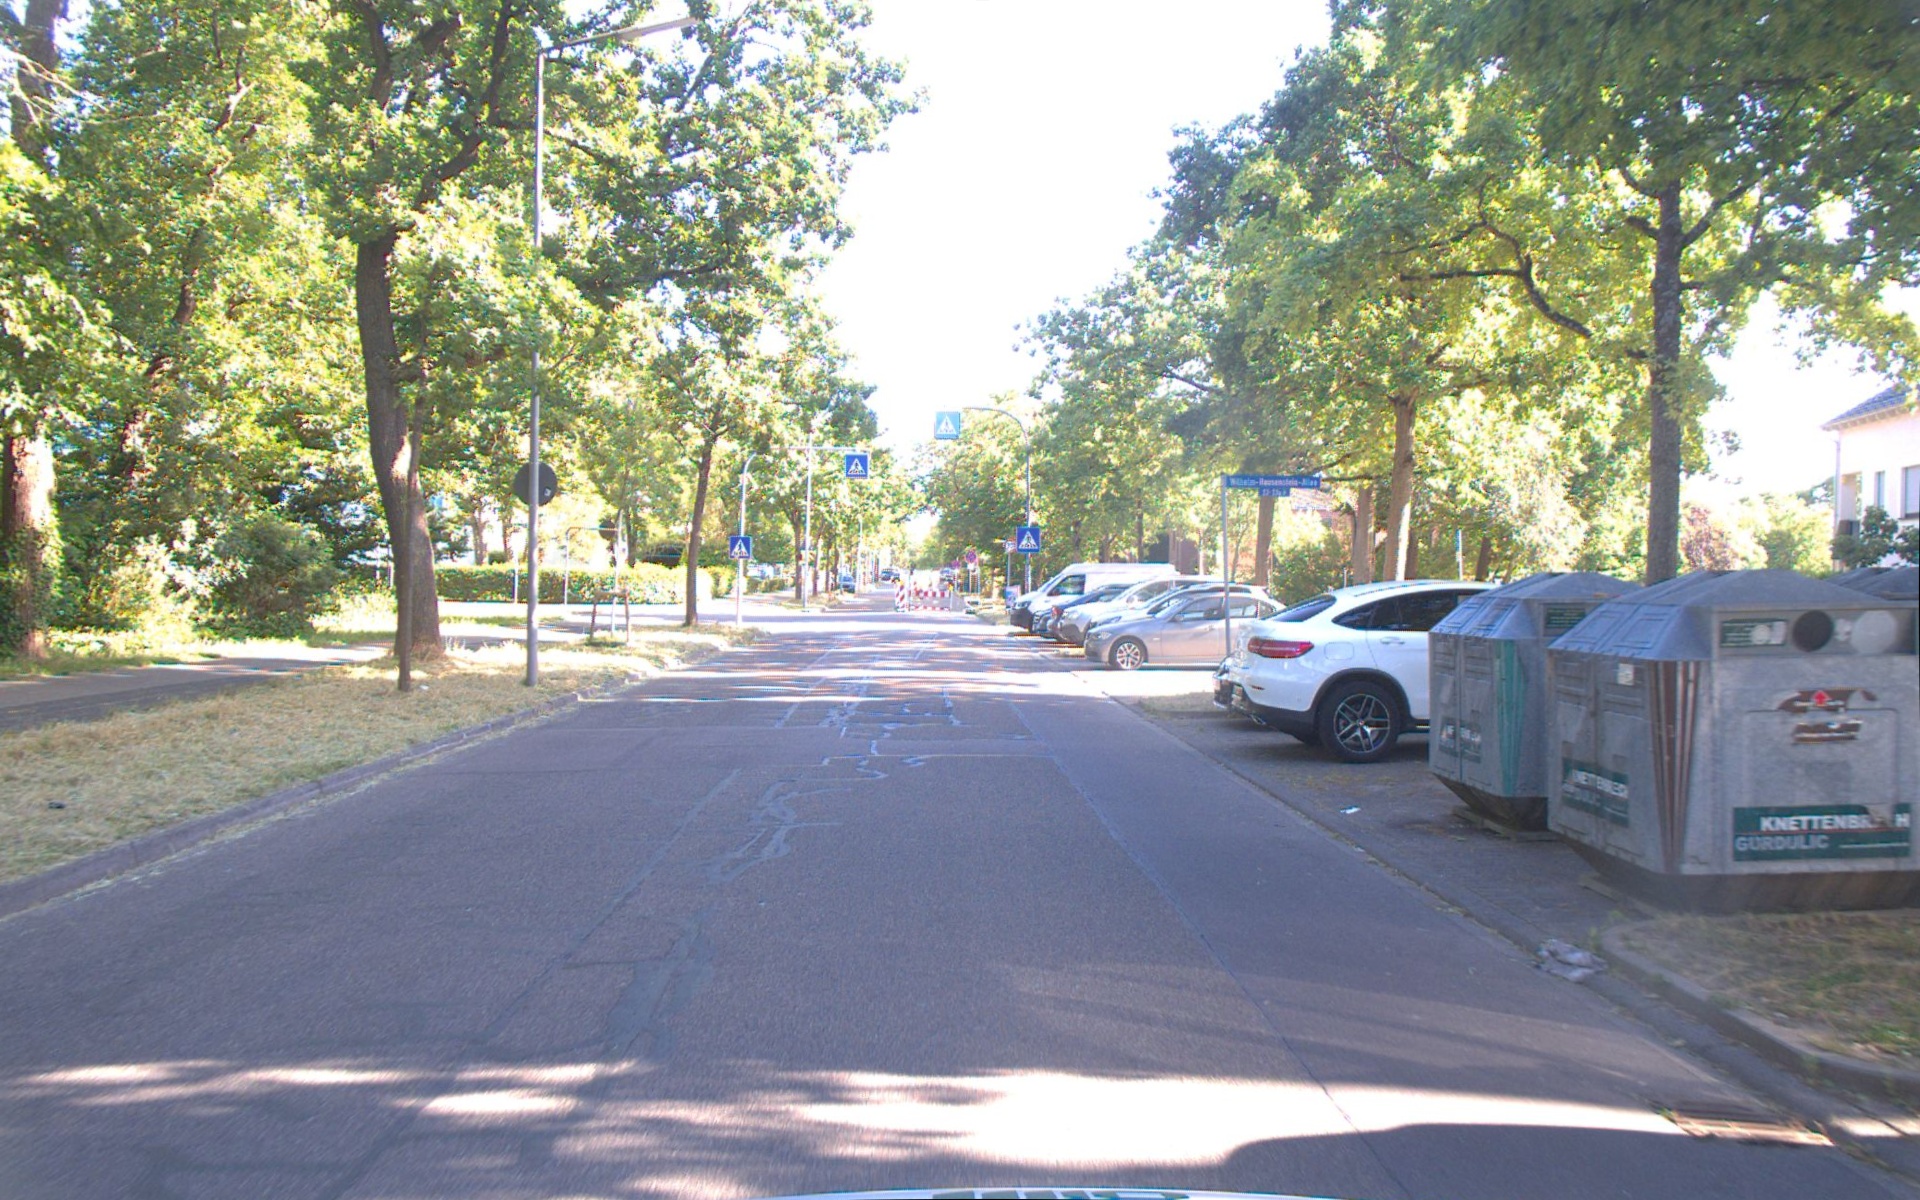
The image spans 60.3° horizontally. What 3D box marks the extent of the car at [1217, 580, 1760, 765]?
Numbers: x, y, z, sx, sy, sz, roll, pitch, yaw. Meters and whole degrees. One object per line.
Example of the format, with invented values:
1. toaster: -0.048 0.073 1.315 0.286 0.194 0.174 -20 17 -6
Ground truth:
1. car: 4.893 0.635 15.778 4.576 1.608 1.916 -1 1 -1

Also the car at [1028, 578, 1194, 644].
1. car: 3.958 0.282 43.775 4.129 1.596 1.932 2 1 -3

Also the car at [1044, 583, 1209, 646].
1. car: 4.082 0.338 41.138 3.905 1.458 1.901 1 1 0

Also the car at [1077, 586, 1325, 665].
1. car: 4.455 0.457 31.006 4.355 1.414 1.910 0 1 -2

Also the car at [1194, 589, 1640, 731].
1. car: 5.137 0.640 18.995 4.577 1.481 1.916 -1 1 -2

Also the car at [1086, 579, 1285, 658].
1. car: 4.599 0.352 34.024 3.807 1.523 1.776 -1 1 -2

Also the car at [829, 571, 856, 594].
1. car: -9.293 -1.375 131.474 1.953 1.746 3.999 2 1 -2

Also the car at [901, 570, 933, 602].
1. car: -2.736 -0.884 104.531 1.953 1.966 3.999 2 1 -2

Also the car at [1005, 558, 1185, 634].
1. car: 3.935 -0.121 48.907 5.084 2.142 2.081 1 0 -3

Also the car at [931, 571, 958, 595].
1. car: -1.184 -1.271 125.538 1.953 1.746 3.999 2 1 -2

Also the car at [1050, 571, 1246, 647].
1. car: 4.345 0.184 38.609 4.297 1.680 1.850 -1 1 -3
